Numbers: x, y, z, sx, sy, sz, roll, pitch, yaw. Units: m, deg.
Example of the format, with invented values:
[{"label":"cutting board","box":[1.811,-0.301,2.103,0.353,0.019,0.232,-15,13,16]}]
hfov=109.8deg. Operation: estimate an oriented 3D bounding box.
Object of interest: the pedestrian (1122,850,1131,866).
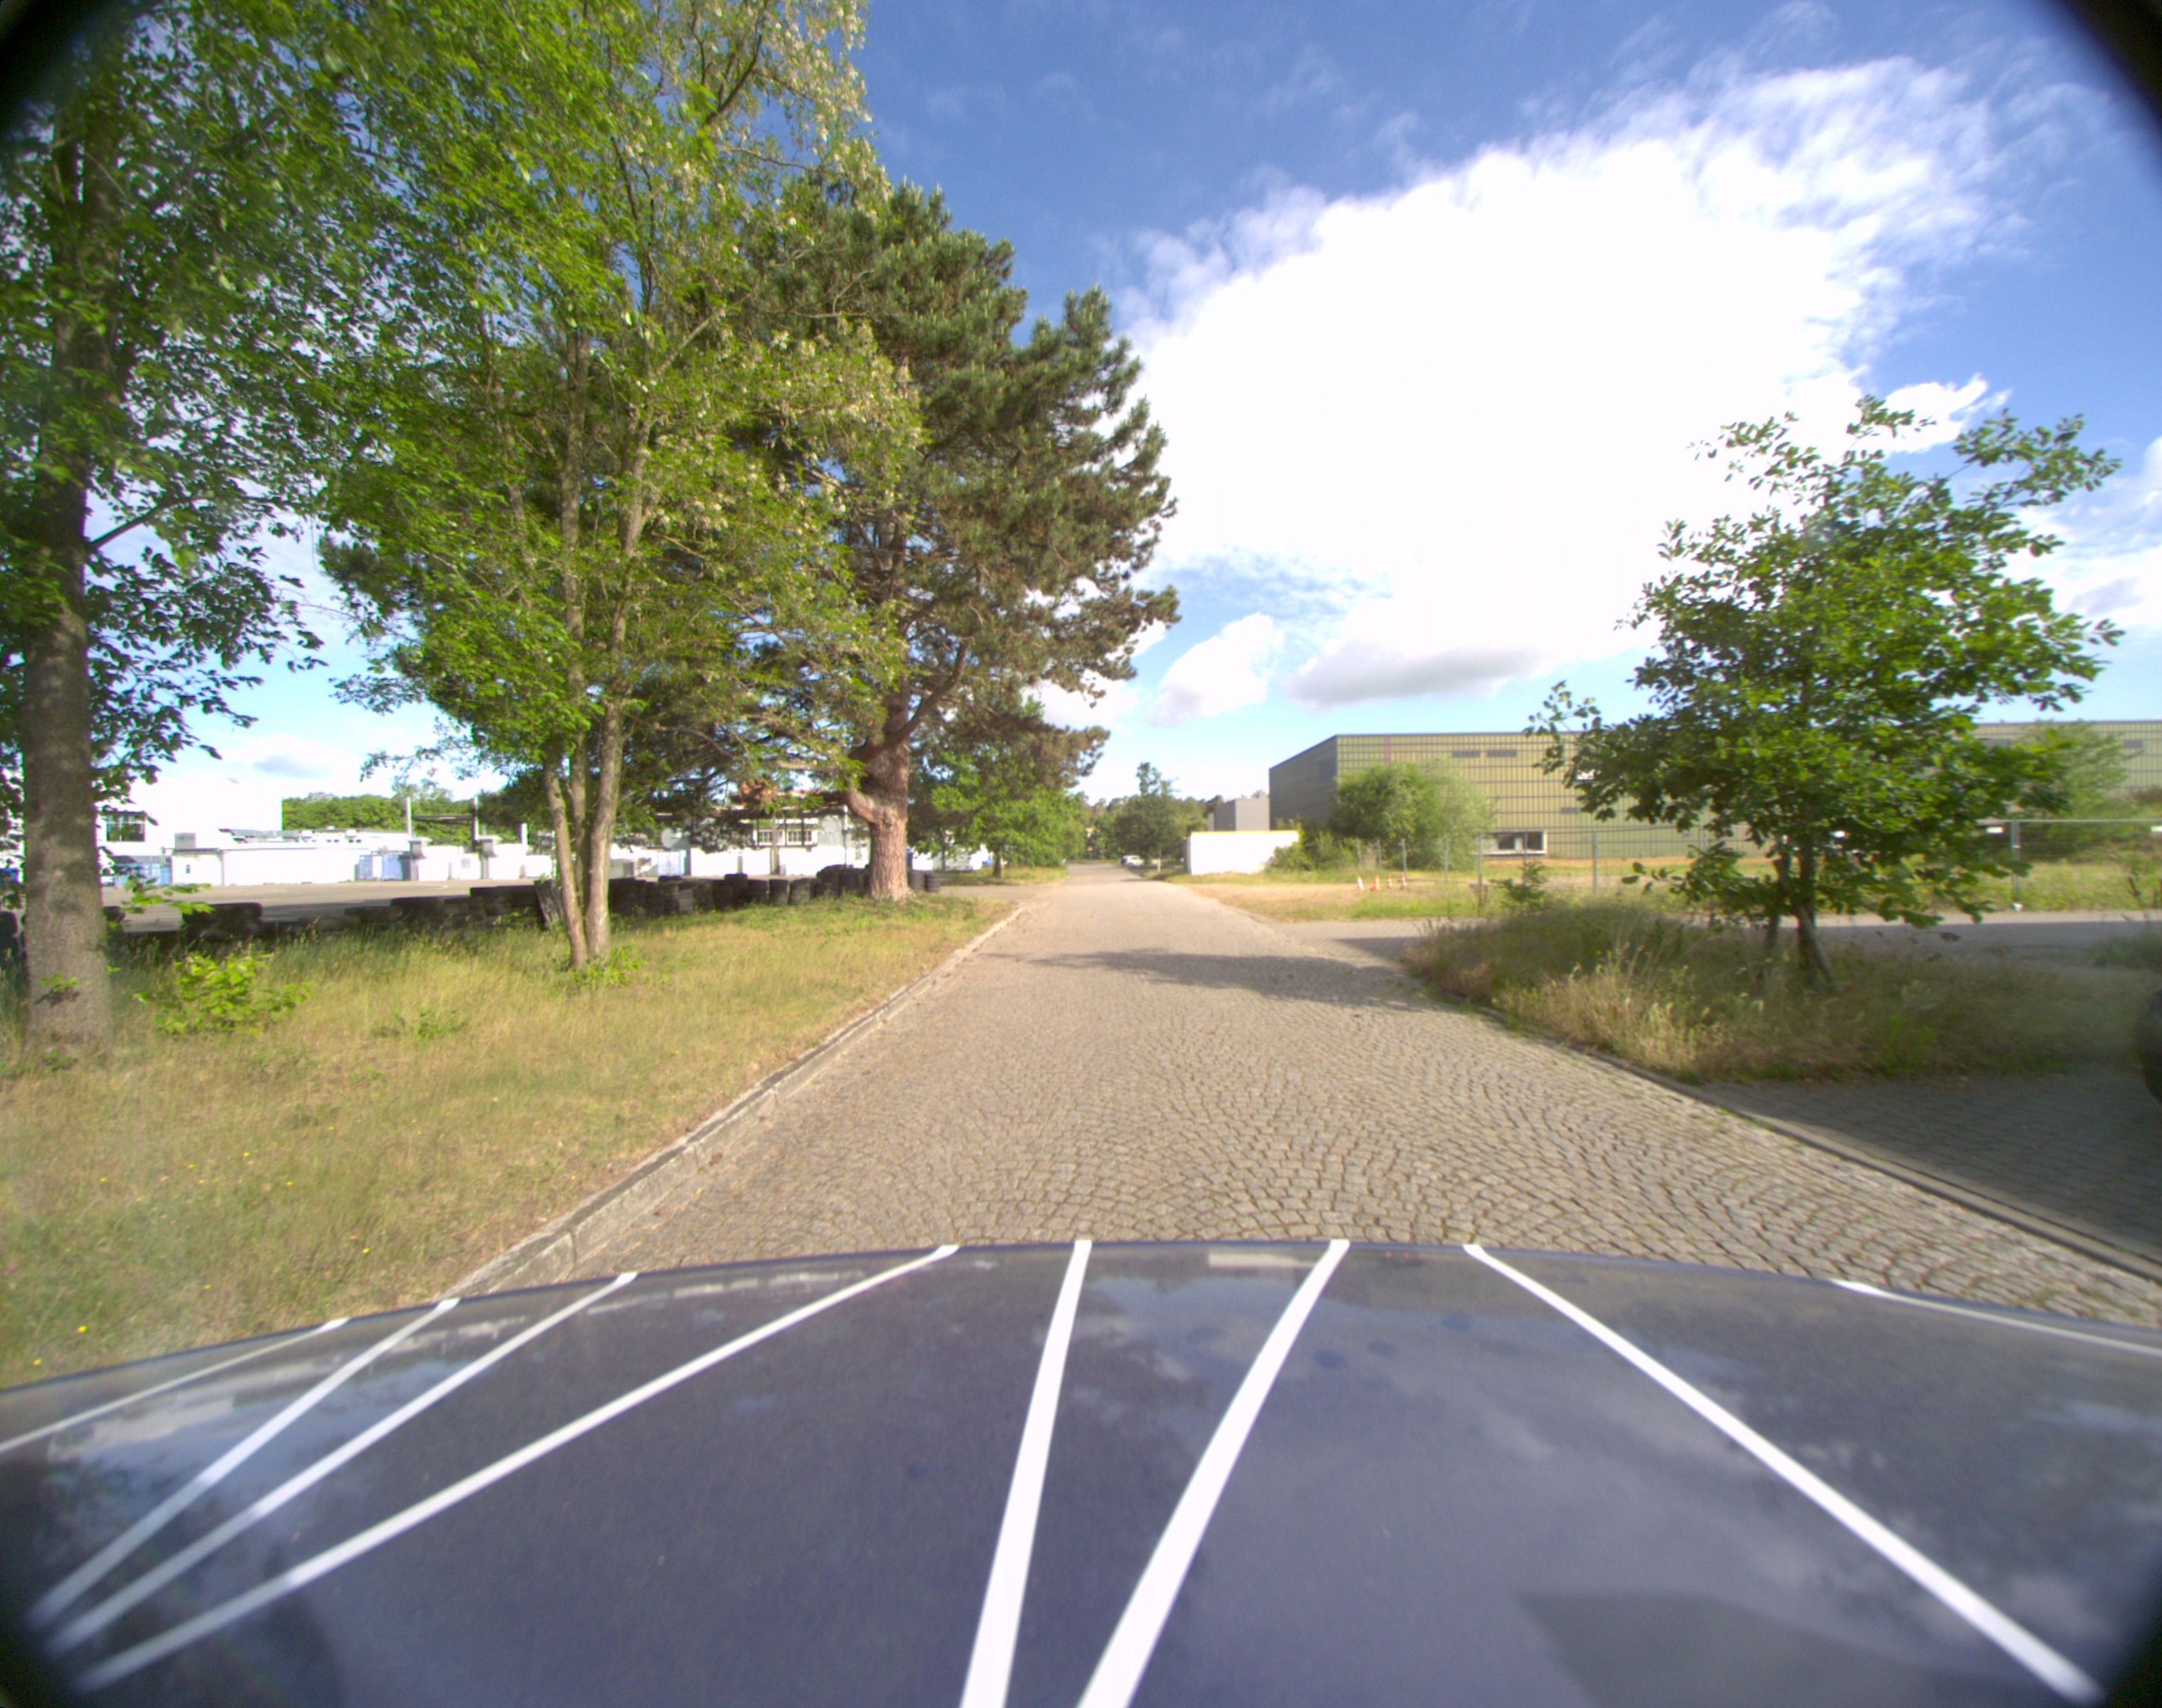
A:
[{"label":"pedestrian","box":[5.389,0.477,89.976,0.908,1.796,0.983,-1,1,-6]}]

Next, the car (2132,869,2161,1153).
[{"label":"car","box":[7.163,0.798,3.426,2.705,1.533,1.518,-3,1,0]}]

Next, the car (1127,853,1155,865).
[{"label":"car","box":[8.744,0.747,110.776,3.996,1.678,2.001,-1,0,4]}]

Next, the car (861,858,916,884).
[{"label":"car","box":[-11.451,0.977,45.389,1.846,1.440,4.002,-1,0,7]}]
